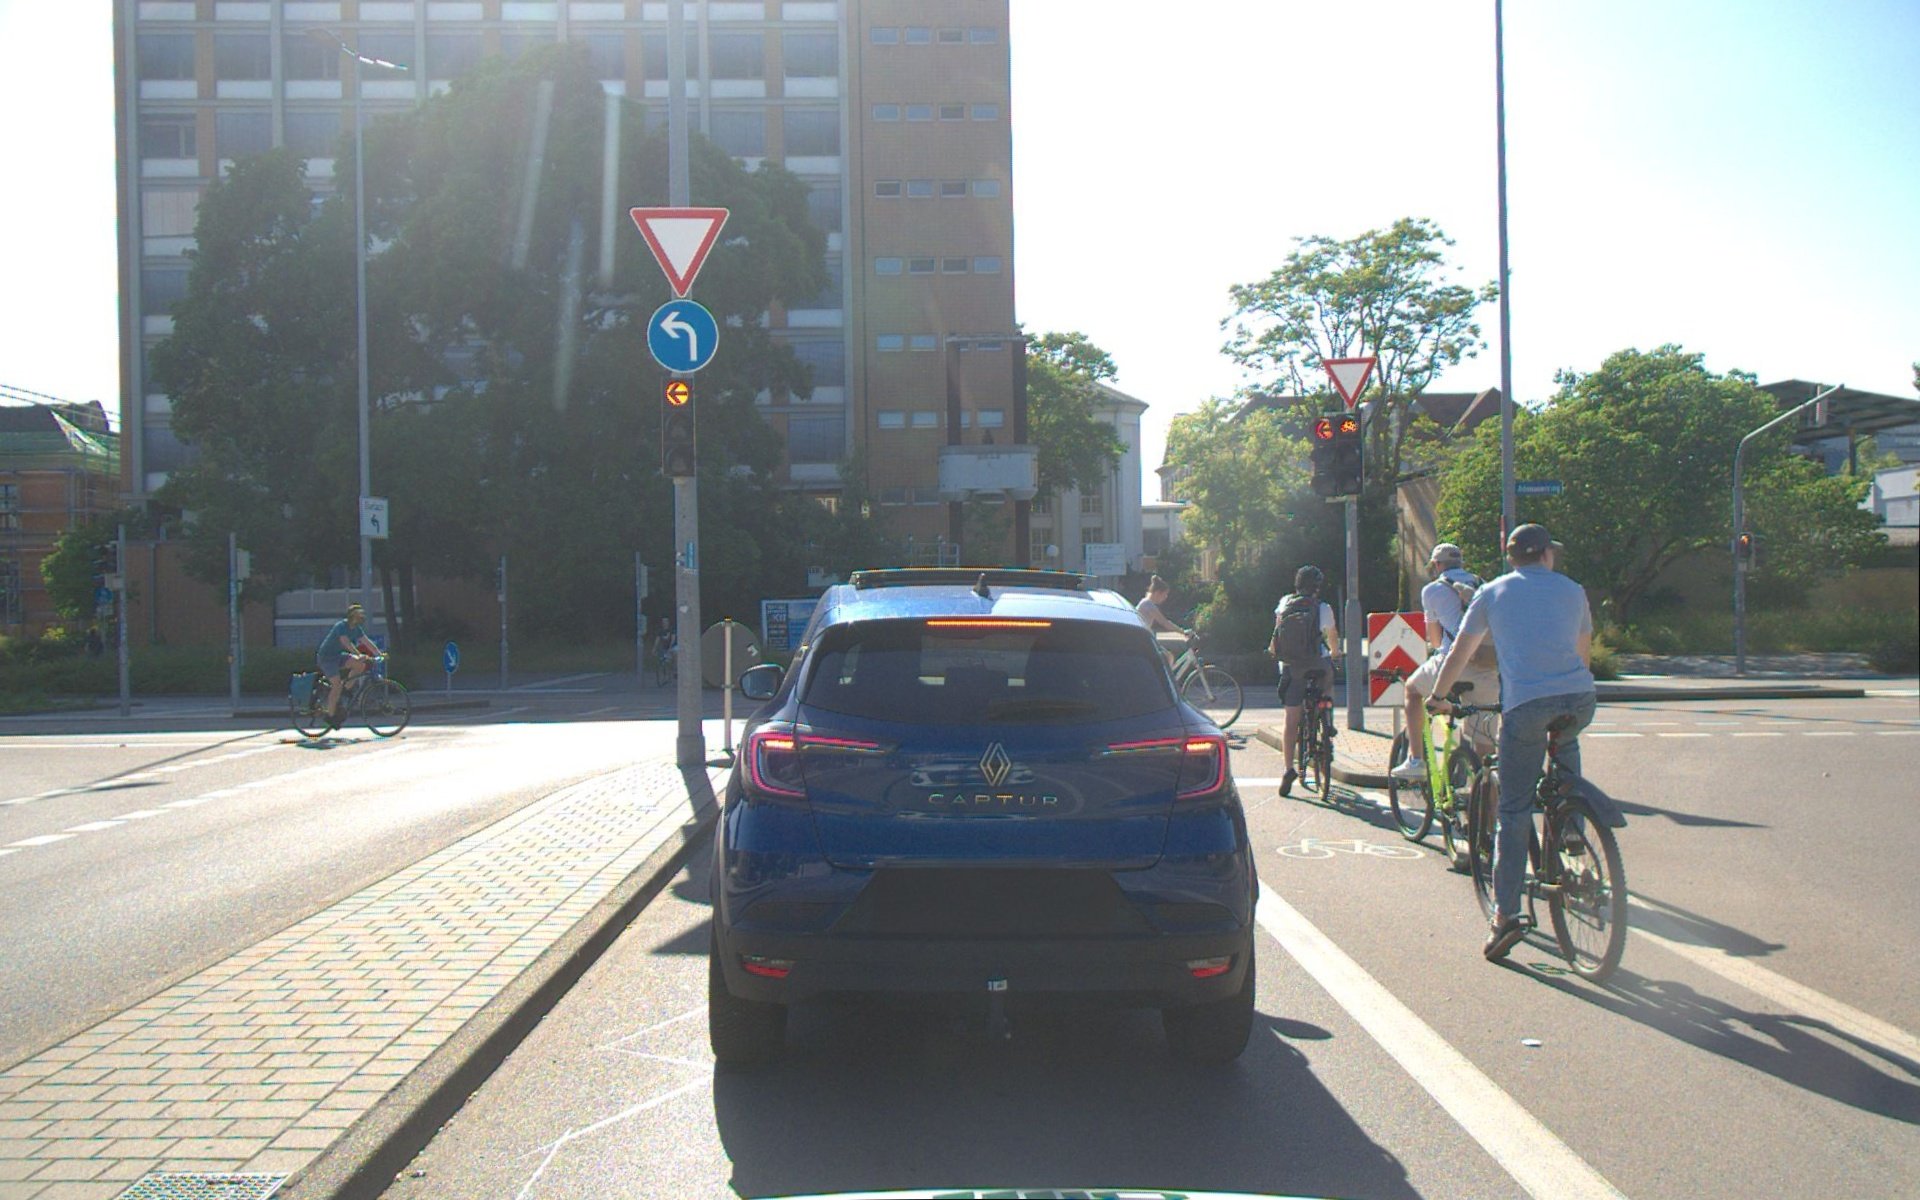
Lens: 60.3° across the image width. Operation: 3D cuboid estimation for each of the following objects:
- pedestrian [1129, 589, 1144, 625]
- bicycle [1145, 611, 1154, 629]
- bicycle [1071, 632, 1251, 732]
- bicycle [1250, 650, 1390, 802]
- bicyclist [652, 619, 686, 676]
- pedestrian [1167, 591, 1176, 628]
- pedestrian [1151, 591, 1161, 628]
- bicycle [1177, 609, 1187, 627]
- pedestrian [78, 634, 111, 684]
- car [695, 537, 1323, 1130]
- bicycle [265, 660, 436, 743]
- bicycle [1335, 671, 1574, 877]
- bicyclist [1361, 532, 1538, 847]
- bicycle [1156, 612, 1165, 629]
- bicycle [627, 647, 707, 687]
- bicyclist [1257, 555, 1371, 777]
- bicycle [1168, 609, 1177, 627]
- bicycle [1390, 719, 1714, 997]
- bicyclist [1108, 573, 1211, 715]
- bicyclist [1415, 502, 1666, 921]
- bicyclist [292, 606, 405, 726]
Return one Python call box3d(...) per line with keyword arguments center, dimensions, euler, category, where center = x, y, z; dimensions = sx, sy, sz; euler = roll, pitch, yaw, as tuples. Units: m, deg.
box3d(center=(9.983, 0.406, 93.522), dimensions=(0.841, 2.049, 0.468), euler=(-1, 0, 5), category="pedestrian")
box3d(center=(10.798, 1.145, 94.222), dimensions=(0.397, 0.990, 1.684), euler=(1, 0, 3), category="bicycle")
box3d(center=(2.289, 0.928, 18.763), dimensions=(1.942, 1.012, 0.742), euler=(-3, -1, 10), category="bicycle")
box3d(center=(2.765, 0.934, 12.923), dimensions=(0.723, 1.012, 2.174), euler=(1, 0, 3), category="bicycle")
box3d(center=(-7.668, 1.240, 43.645), dimensions=(0.728, 1.466, 0.593), euler=(-1, 0, -27), category="bicyclist")
box3d(center=(11.831, 0.540, 92.562), dimensions=(0.465, 2.049, 0.468), euler=(-1, 0, 5), category="pedestrian")
box3d(center=(10.800, 0.516, 91.195), dimensions=(0.465, 2.049, 0.523), euler=(-1, 0, 5), category="pedestrian")
box3d(center=(12.684, 1.033, 94.589), dimensions=(0.397, 0.990, 1.684), euler=(1, 0, 3), category="bicycle")
box3d(center=(-28.416, 1.930, 54.301), dimensions=(0.722, 1.631, 0.598), euler=(-1, 0, 21), category="pedestrian")
box3d(center=(0.064, 0.666, 6.681), dimensions=(1.767, 1.660, 3.998), euler=(1, 0, -3), category="car")
box3d(center=(-7.739, 1.287, 21.007), dimensions=(1.942, 0.934, 0.688), euler=(-3, -1, 13), category="bicycle")
box3d(center=(2.874, 0.976, 9.844), dimensions=(0.646, 1.020, 1.967), euler=(1, 0, -6), category="bicycle")
box3d(center=(2.886, 0.508, 9.841), dimensions=(0.633, 1.769, 1.065), euler=(1, 0, -6), category="bicyclist")
box3d(center=(11.408, 1.156, 94.188), dimensions=(0.397, 0.990, 1.684), euler=(1, 0, 3), category="bicycle")
box3d(center=(-7.716, 1.763, 43.618), dimensions=(1.982, 0.981, 0.593), euler=(-1, 0, -28), category="bicycle")
box3d(center=(2.763, 0.500, 12.975), dimensions=(0.711, 1.657, 0.969), euler=(1, 0, 3), category="bicyclist")
box3d(center=(12.159, 1.024, 94.567), dimensions=(0.397, 0.990, 1.684), euler=(1, 0, 3), category="bicycle")
box3d(center=(2.506, 1.050, 7.273), dimensions=(0.725, 0.911, 1.978), euler=(1, 0, 0), category="bicycle")
box3d(center=(2.274, 0.496, 18.768), dimensions=(1.046, 1.526, 0.742), euler=(-3, -1, 10), category="bicyclist")
box3d(center=(2.512, 0.458, 7.271), dimensions=(0.736, 1.698, 1.016), euler=(1, 0, 0), category="bicyclist")
box3d(center=(-7.760, 0.834, 21.019), dimensions=(1.100, 1.447, 0.688), euler=(-3, -1, 12), category="bicyclist")
